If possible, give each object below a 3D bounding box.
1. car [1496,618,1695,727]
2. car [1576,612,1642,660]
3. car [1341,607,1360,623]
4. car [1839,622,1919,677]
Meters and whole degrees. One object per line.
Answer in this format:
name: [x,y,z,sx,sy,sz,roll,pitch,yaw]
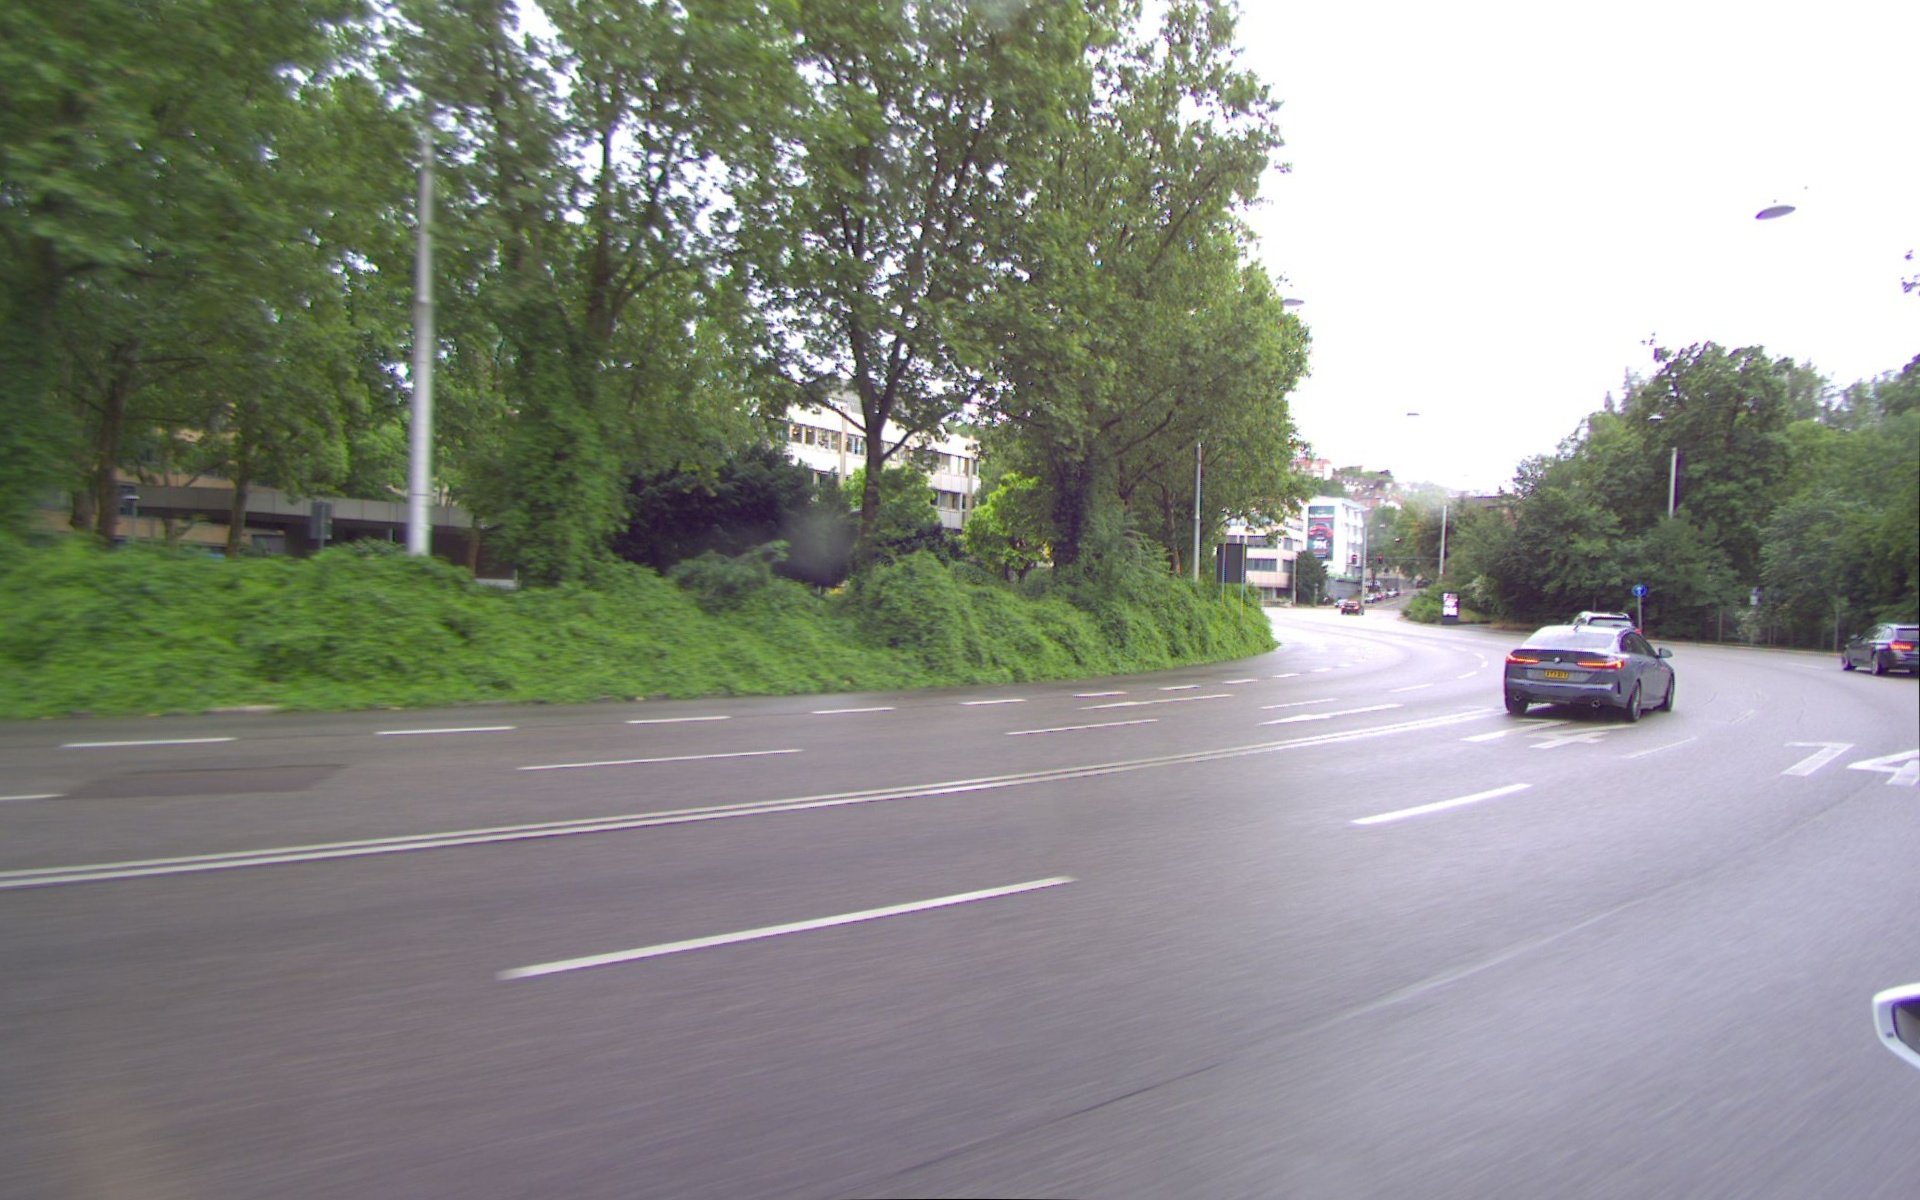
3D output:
car: [10.590,1.080,16.596,4.507,1.434,1.649,0,2,-43]
car: [23.534,1.262,36.530,1.732,1.607,4.404,0,0,29]
car: [42.534,1.621,109.429,1.800,1.673,3.998,2,0,23]
car: [26.686,1.418,28.607,1.733,1.451,4.403,-1,-3,32]
